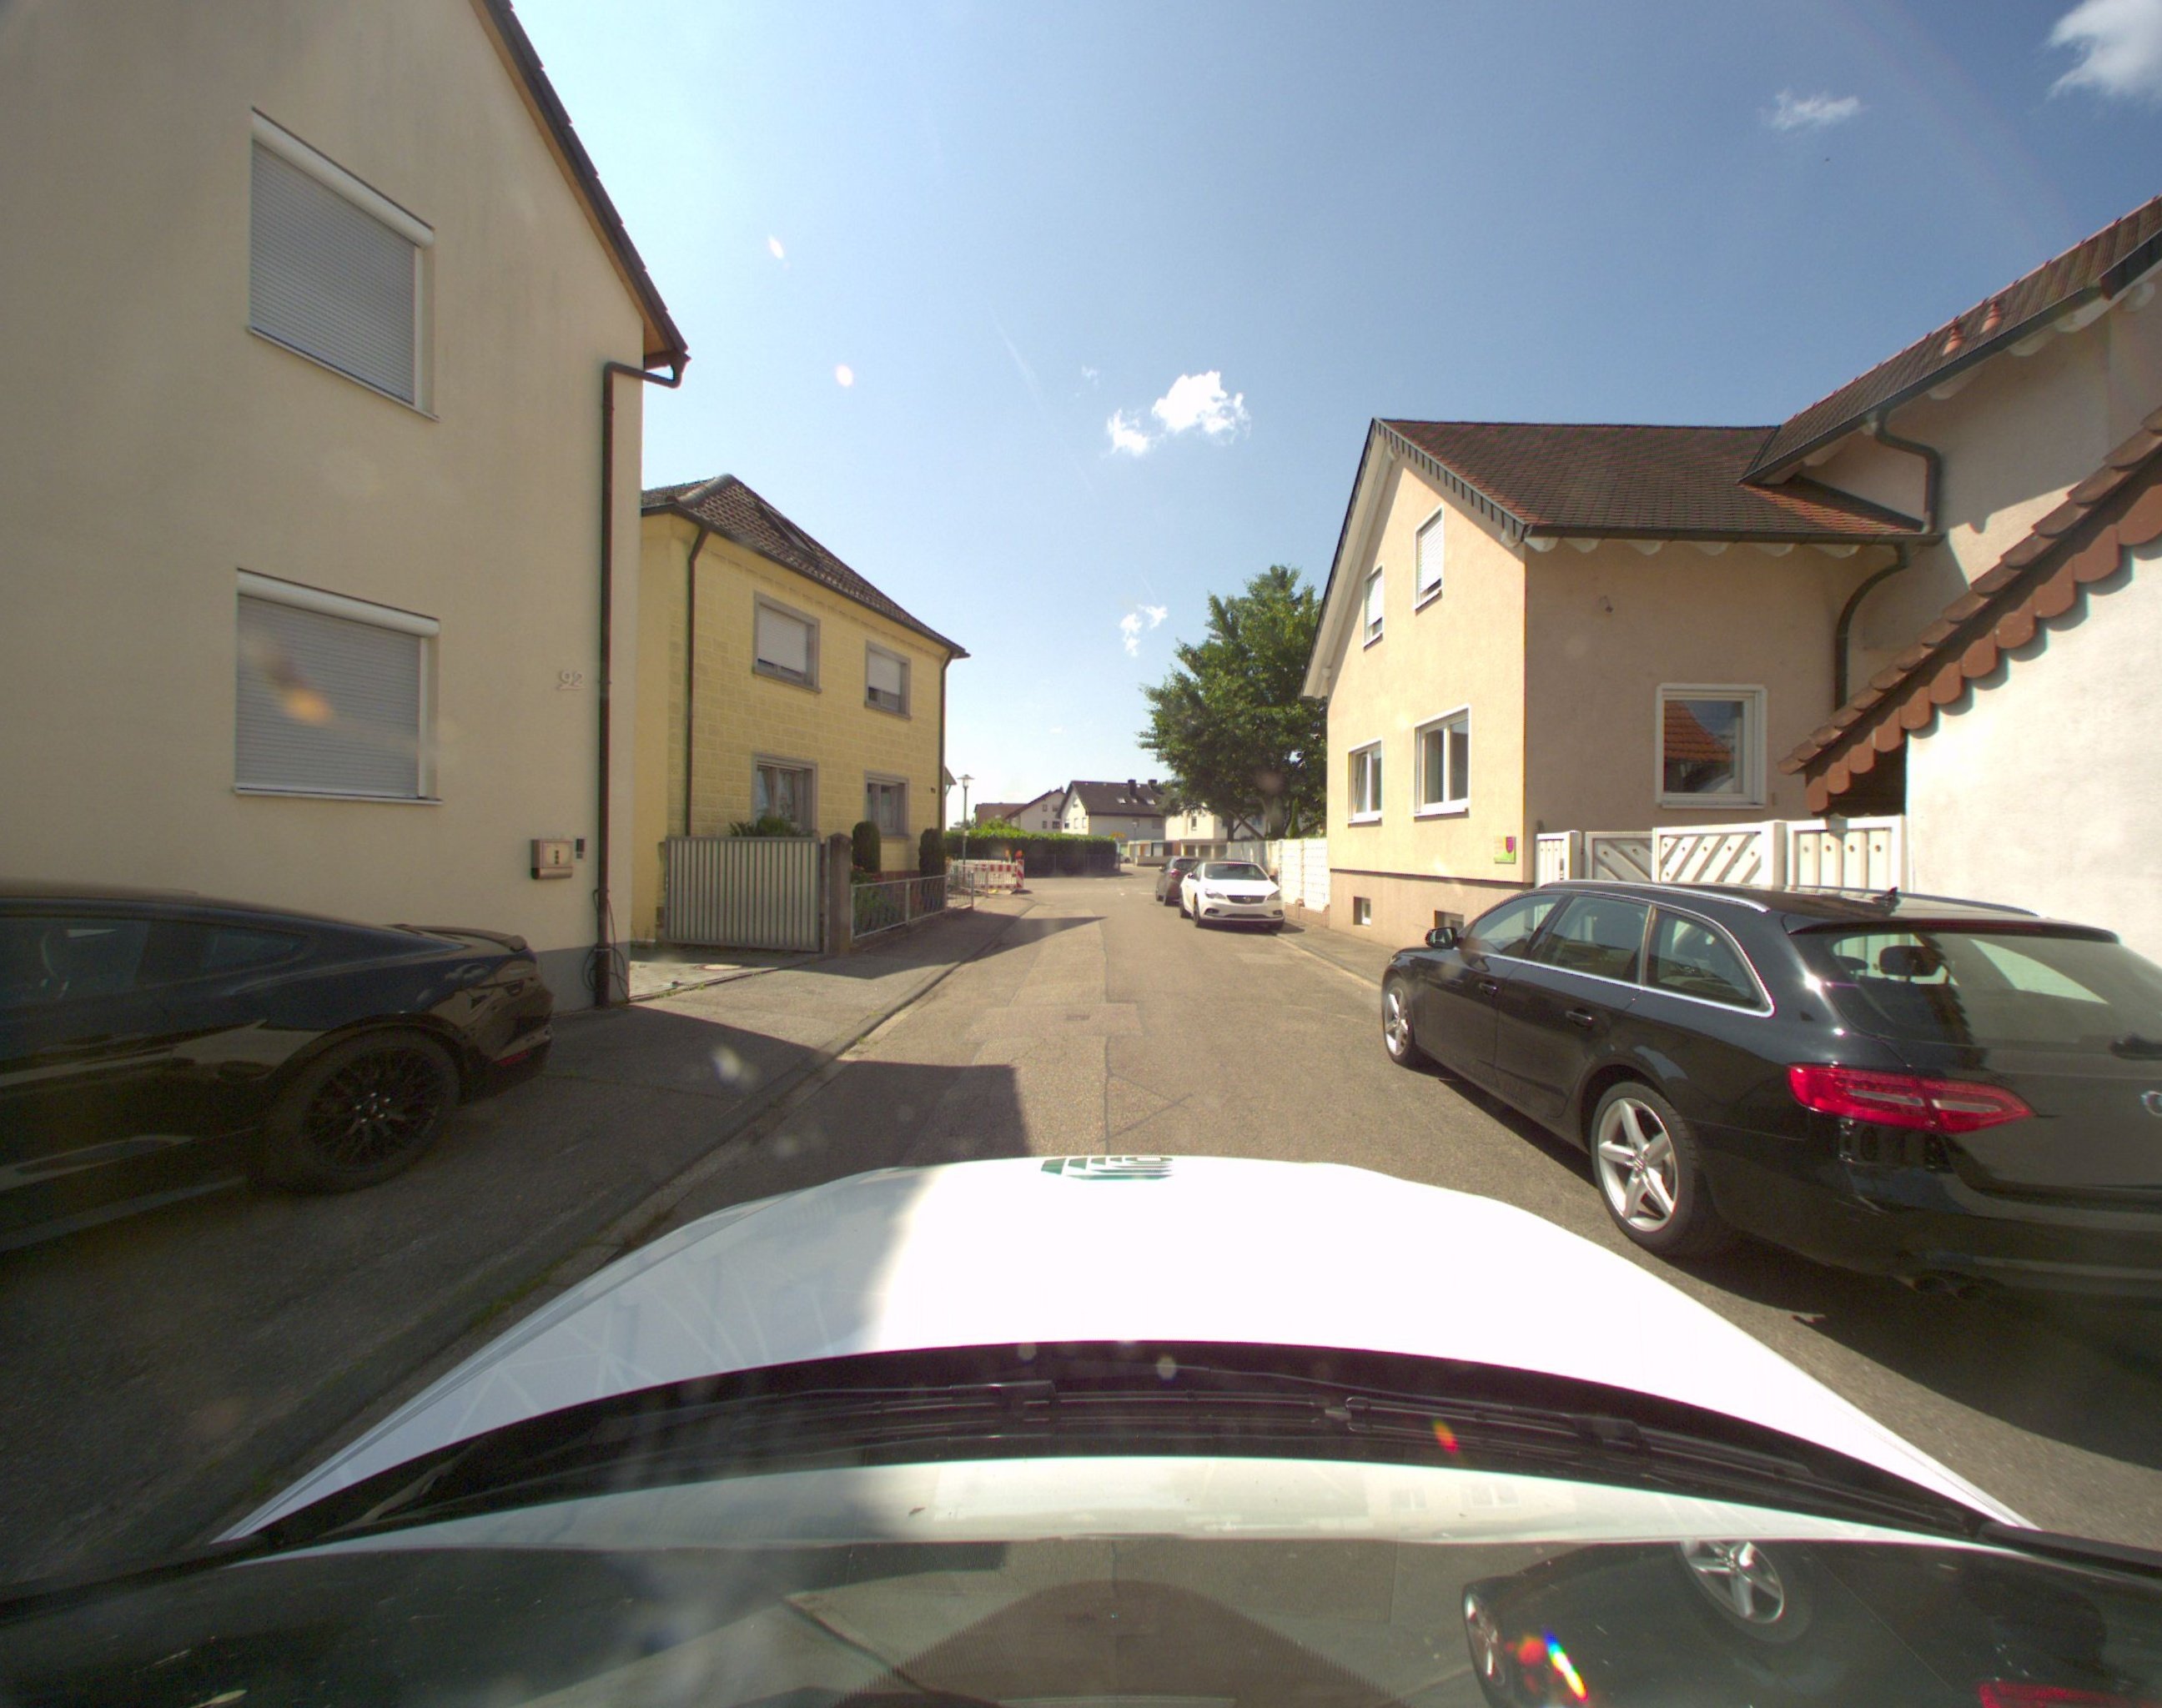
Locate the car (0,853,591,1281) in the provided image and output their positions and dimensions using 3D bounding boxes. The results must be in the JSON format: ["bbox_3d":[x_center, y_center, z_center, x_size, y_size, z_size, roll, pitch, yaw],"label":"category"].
[{"bbox_3d":[-4.361,0.678,2.743,1.755,1.349,4.491,1,-1,20],"label":"car"}]

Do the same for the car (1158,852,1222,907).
[{"bbox_3d":[3.350,0.740,25.543,1.705,1.532,4.040,1,0,4],"label":"car"}]

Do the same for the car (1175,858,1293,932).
[{"bbox_3d":[3.340,0.827,18.717,1.889,1.428,4.738,1,0,1],"label":"car"}]

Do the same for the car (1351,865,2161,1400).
[{"bbox_3d":[3.163,0.796,4.565,1.888,1.365,4.740,1,0,2],"label":"car"}]

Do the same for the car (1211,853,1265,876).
[{"bbox_3d":[11.200,0.716,58.460,1.805,1.563,4.112,1,0,-23],"label":"car"}]

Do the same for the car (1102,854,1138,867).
[{"bbox_3d":[4.354,0.748,91.453,3.612,1.408,1.771,1,0,-21],"label":"car"}]

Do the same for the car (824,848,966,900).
[{"bbox_3d":[-5.969,0.589,25.986,4.415,1.485,1.803,1,0,33],"label":"car"}]
